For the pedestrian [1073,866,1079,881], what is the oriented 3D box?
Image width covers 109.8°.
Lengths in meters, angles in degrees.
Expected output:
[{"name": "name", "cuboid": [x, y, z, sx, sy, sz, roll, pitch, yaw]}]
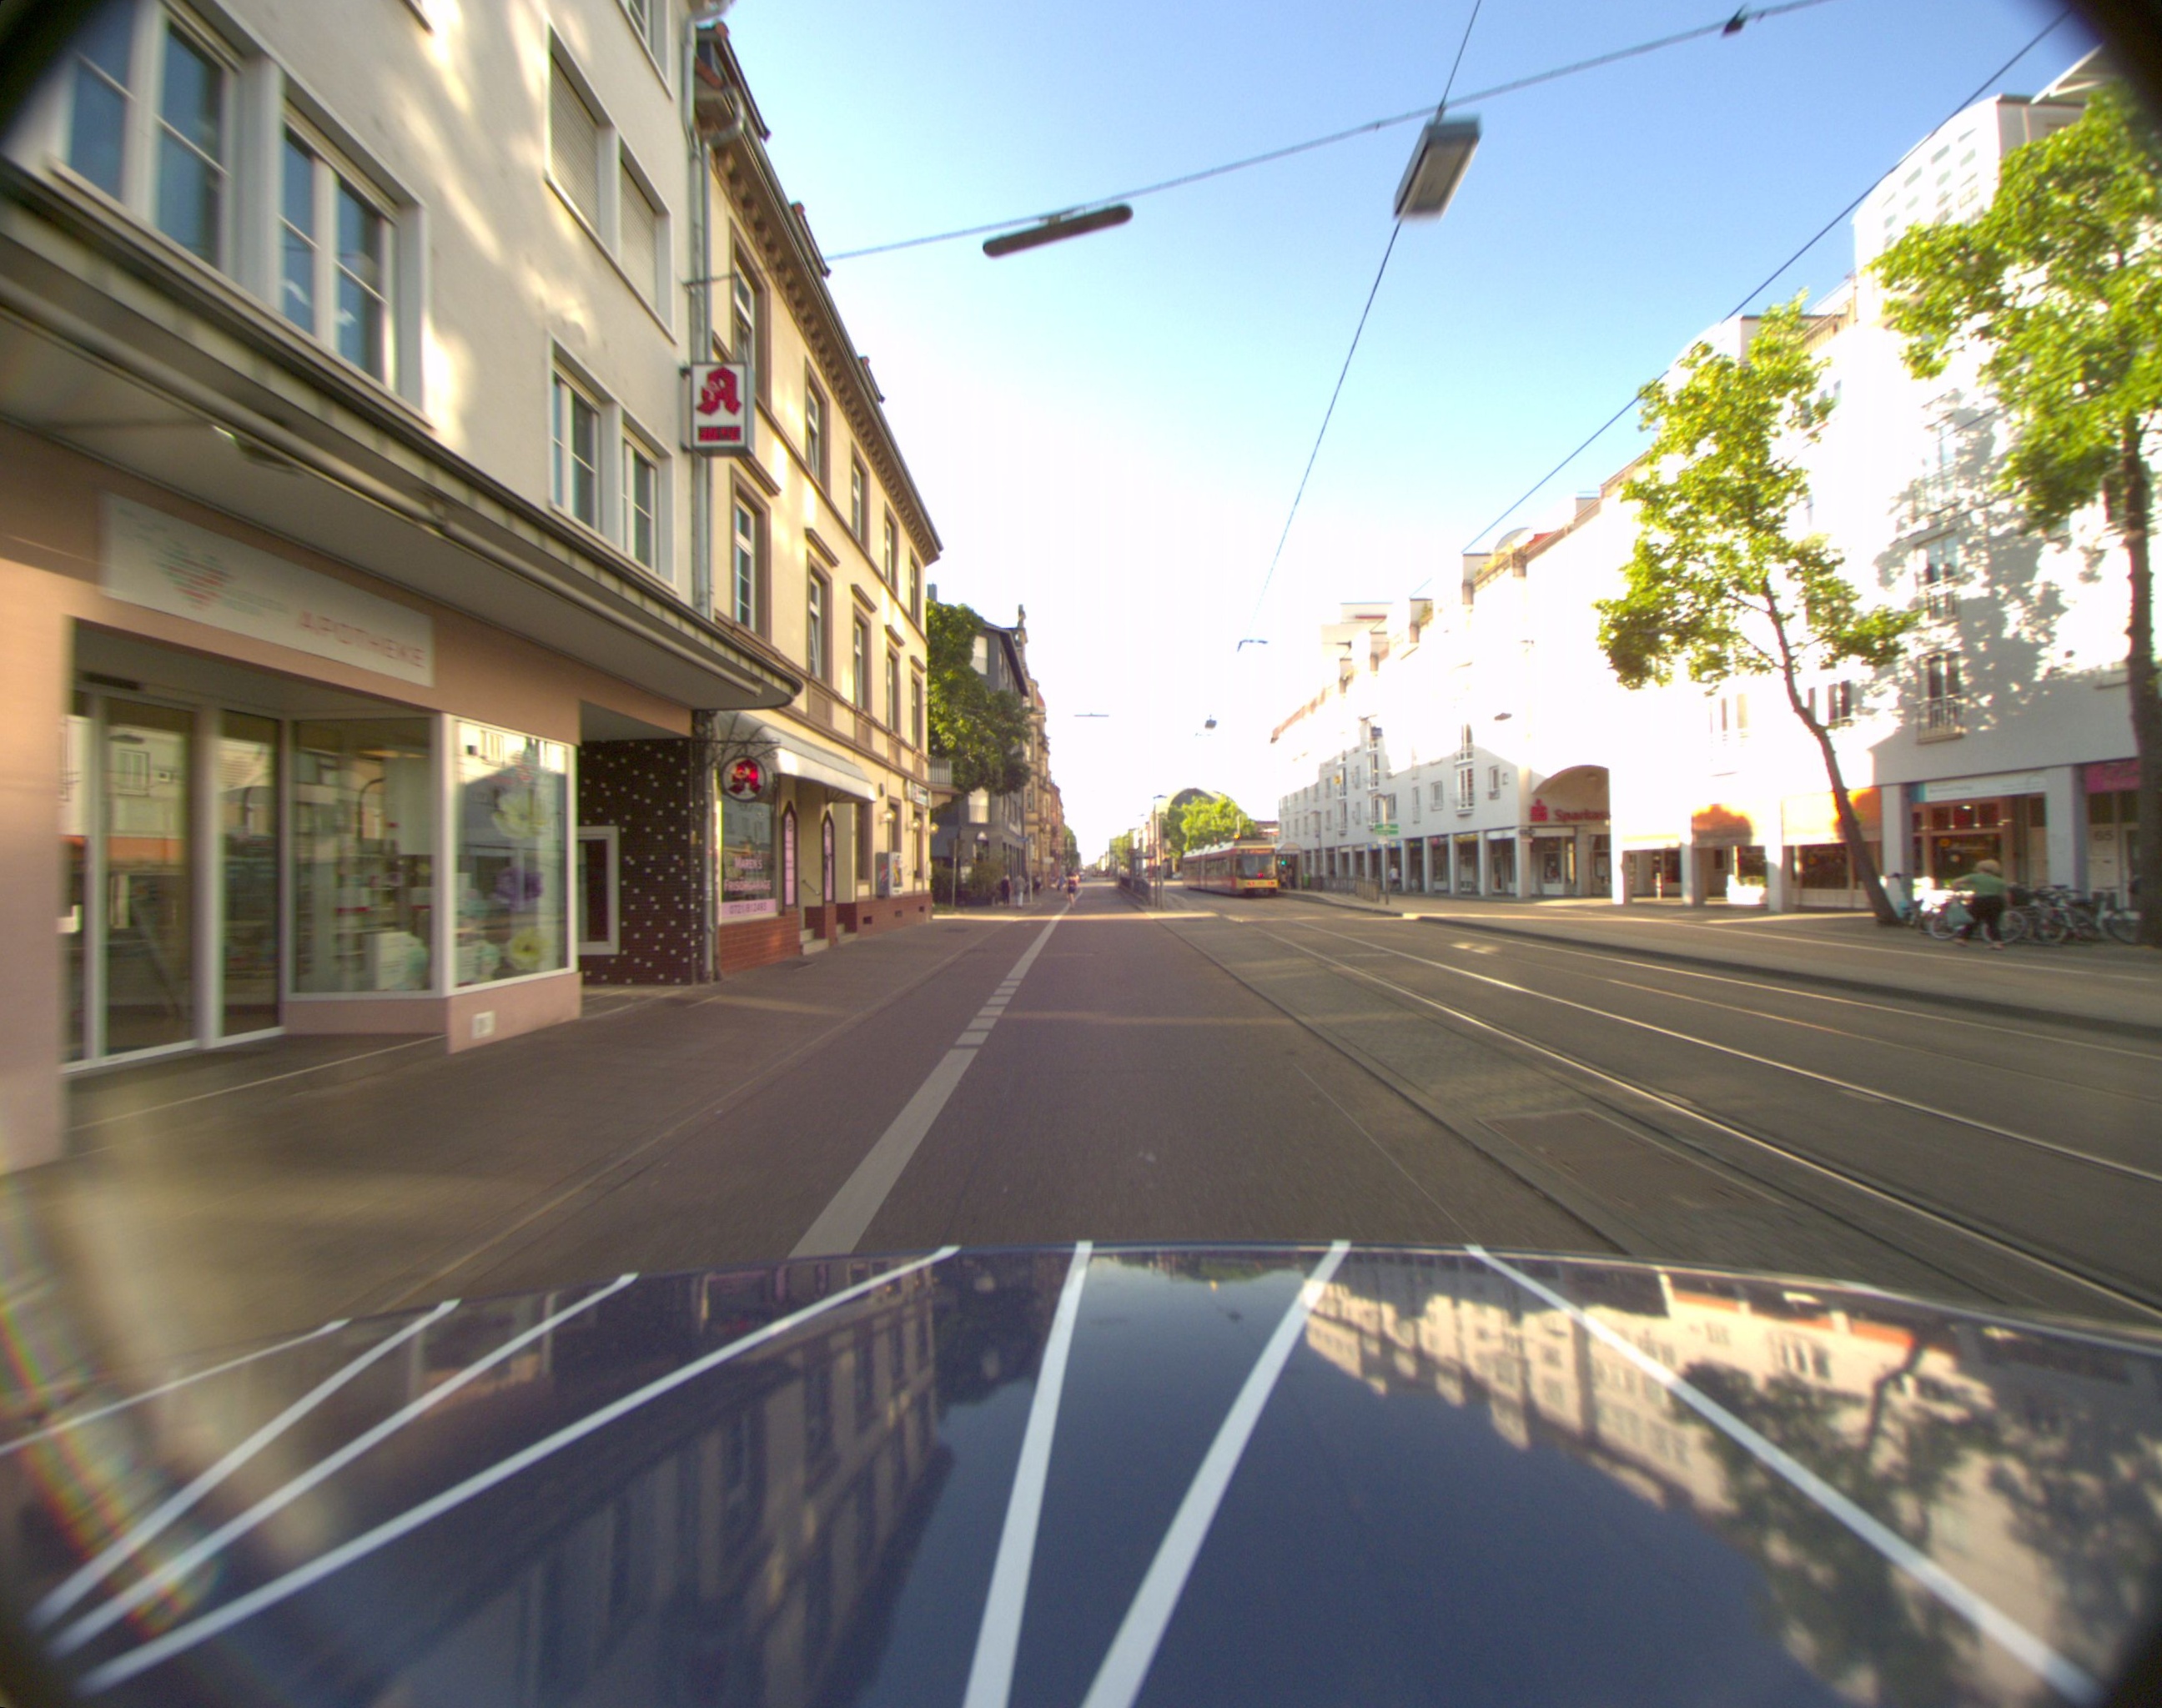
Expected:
[{"name": "pedestrian", "cuboid": [-0.599, 2.354, 90.566, 0.694, 1.760, 0.697, -1, -1, 6]}]

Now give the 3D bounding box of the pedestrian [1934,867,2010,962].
[{"name": "pedestrian", "cuboid": [16.554, 1.100, 14.138, 0.630, 1.706, 0.826, -1, -1, 28]}]

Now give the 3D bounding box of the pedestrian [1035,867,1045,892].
[{"name": "pedestrian", "cuboid": [-2.996, 1.859, 55.786, 0.650, 1.760, 0.697, -1, -1, 6]}]

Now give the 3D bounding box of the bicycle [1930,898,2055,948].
[{"name": "bicycle", "cuboid": [18.416, 1.395, 15.373, 1.849, 0.907, 0.389, -3, -1, 6]}]

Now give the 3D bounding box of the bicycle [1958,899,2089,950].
[{"name": "bicycle", "cuboid": [18.442, 1.387, 14.894, 1.849, 0.907, 0.389, -3, -1, 6]}]

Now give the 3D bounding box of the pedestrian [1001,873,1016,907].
[{"name": "pedestrian", "cuboid": [-3.424, 1.706, 35.958, 0.651, 1.569, 0.682, -1, -1, -6]}]

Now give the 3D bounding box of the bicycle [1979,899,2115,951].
[{"name": "bicycle", "cuboid": [18.393, 1.350, 14.487, 1.849, 0.907, 0.389, -3, -1, 6]}]

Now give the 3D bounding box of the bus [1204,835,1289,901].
[{"name": "bus", "cuboid": [10.132, 0.912, 48.376, 2.818, 3.546, 13.683, -1, -1, 2]}]

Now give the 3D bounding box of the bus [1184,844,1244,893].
[{"name": "bus", "cuboid": [10.554, 1.170, 61.719, 2.818, 3.546, 13.682, -1, -1, 2]}]

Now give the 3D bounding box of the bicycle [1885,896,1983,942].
[{"name": "bicycle", "cuboid": [19.064, 1.445, 16.983, 1.776, 0.907, 0.418, -2, -1, -3]}]

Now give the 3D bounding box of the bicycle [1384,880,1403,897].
[{"name": "bicycle", "cuboid": [19.871, 2.195, 48.397, 0.518, 0.983, 1.727, -2, -1, 2]}]

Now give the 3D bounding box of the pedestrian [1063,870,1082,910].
[{"name": "pedestrian", "cuboid": [-0.381, 1.612, 34.524, 0.807, 1.789, 0.762, -1, -1, 1]}]

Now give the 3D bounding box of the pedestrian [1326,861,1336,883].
[{"name": "pedestrian", "cuboid": [19.603, 1.374, 59.508, 0.533, 1.706, 0.706, -1, -1, 2]}]

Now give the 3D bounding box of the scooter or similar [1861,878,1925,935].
[{"name": "scooter or similar", "cuboid": [19.348, 1.235, 18.133, 0.378, 1.271, 1.181, -4, -1, 13]}]

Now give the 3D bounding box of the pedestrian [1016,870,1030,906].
[{"name": "pedestrian", "cuboid": [-2.757, 1.595, 36.034, 0.651, 1.706, 0.805, -1, -1, -6]}]

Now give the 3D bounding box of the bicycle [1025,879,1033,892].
[{"name": "bicycle", "cuboid": [-3.769, 2.282, 55.181, 0.389, 0.907, 1.852, -2, -1, 2]}]

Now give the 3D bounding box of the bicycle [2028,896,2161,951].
[{"name": "bicycle", "cuboid": [18.399, 1.249, 13.731, 1.849, 0.907, 0.389, -3, -1, 6]}]

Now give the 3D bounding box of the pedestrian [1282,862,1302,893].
[{"name": "pedestrian", "cuboid": [12.903, 1.439, 46.503, 0.918, 1.822, 0.978, -1, -1, 3]}]

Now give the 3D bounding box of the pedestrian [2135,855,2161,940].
[{"name": "pedestrian", "cuboid": [21.940, 0.867, 15.156, 0.631, 1.706, 0.825, -1, -1, 2]}]

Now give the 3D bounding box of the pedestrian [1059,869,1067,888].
[{"name": "pedestrian", "cuboid": [-1.757, 2.364, 73.094, 0.694, 1.760, 0.697, -1, -1, 6]}]

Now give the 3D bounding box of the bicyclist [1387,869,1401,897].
[{"name": "bicyclist", "cuboid": [19.847, 1.836, 48.225, 0.514, 1.690, 0.808, -2, -1, 2]}]

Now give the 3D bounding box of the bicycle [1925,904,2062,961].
[{"name": "bicycle", "cuboid": [17.219, 1.451, 14.407, 0.389, 0.907, 1.852, -2, -1, 2]}]

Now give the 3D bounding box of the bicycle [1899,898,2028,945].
[{"name": "bicycle", "cuboid": [18.384, 1.409, 15.864, 1.848, 0.907, 0.390, -3, -1, 14]}]
